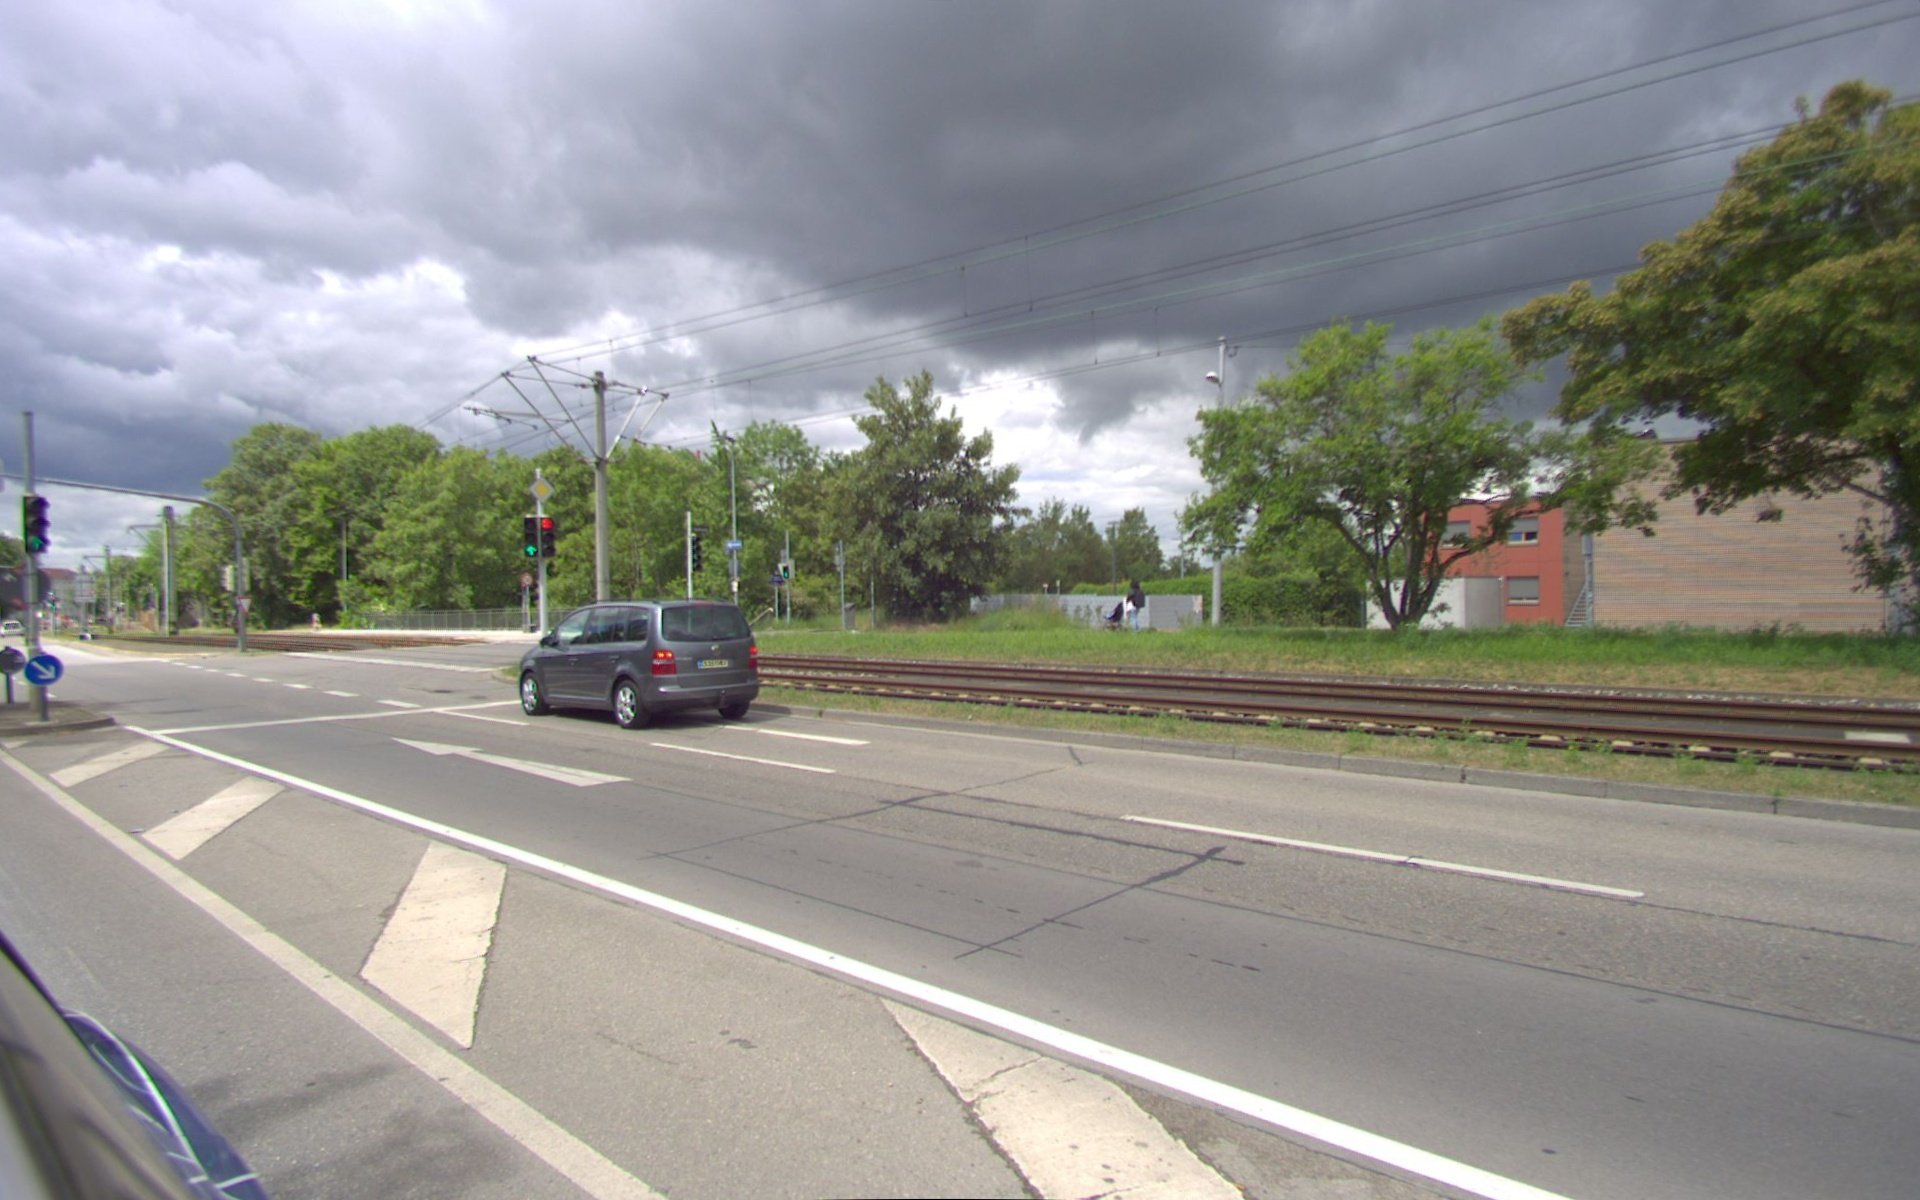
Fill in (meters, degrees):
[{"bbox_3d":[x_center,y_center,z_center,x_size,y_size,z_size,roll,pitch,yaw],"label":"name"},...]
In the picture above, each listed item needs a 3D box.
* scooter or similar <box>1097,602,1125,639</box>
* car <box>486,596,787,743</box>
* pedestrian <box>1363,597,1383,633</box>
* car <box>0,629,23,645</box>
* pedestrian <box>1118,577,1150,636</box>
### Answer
[{"bbox_3d":[4.544,0.617,30.482,0.717,1.084,0.376,0,1,41],"label":"scooter or similar"},{"bbox_3d":[-4.582,0.805,13.972,4.522,1.672,1.972,0,1,43],"label":"car"},{"bbox_3d":[16.753,0.610,41.045,0.650,1.451,0.490,-1,1,13],"label":"pedestrian"},{"bbox_3d":[-92.950,3.562,98.926,4.855,1.358,1.765,0,1,45],"label":"car"},{"bbox_3d":[5.150,0.191,29.935,0.799,1.736,0.485,0,1,41],"label":"pedestrian"}]
